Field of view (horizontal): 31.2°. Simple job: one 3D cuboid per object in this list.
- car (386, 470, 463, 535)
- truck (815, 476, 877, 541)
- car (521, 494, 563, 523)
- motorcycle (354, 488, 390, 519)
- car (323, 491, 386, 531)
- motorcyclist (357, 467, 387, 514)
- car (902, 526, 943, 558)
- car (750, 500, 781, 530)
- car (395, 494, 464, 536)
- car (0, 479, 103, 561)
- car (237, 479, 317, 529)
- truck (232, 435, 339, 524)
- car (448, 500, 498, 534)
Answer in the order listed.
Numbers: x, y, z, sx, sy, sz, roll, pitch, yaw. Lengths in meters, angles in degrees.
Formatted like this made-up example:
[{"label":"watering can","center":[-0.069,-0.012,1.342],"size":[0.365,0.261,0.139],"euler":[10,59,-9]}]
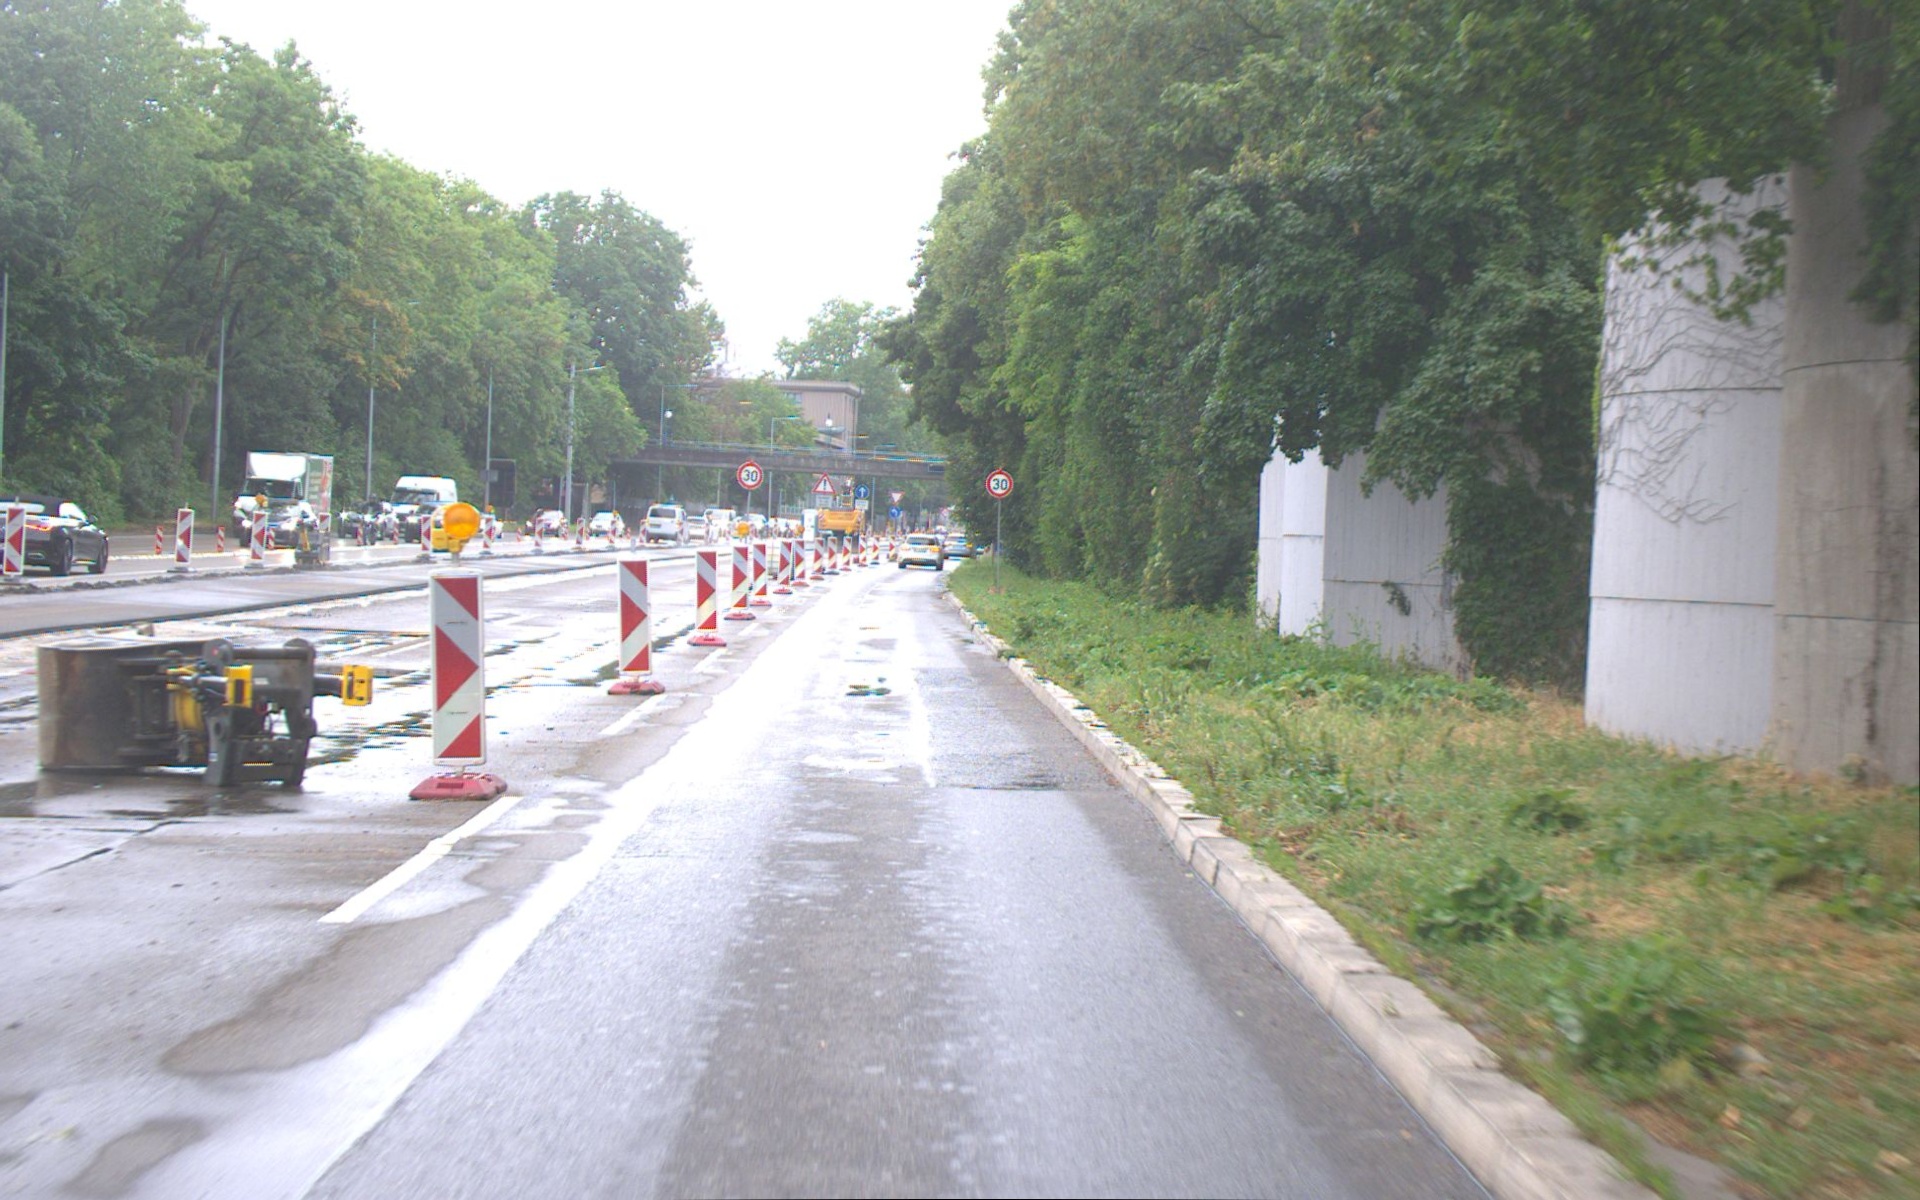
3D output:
[{"label":"car","center":[-22.436,-4.087,144.306],"size":[2.099,2.571,6.854],"euler":[2,2,0]},{"label":"truck","center":[-6.484,-5.286,197.635],"size":[3.259,3.485,13.872],"euler":[2,2,-1]},{"label":"car","center":[-22.187,-4.870,182.714],"size":[1.670,1.480,4.320],"euler":[2,2,0]},{"label":"motorcycle","center":[-20.116,-3.301,117.571],"size":[0.828,1.011,2.367],"euler":[3,1,-1]},{"label":"car","center":[-23.496,-3.470,133.518],"size":[1.670,1.480,4.320],"euler":[2,2,0]},{"label":"motorcyclist","center":[-20.095,-3.737,117.532],"size":[0.828,1.559,0.927],"euler":[3,1,-1]},{"label":"car","center":[-1.572,-2.429,143.394],"size":[1.697,1.331,3.491],"euler":[0,1,-1]},{"label":"car","center":[-12.399,-5.433,219.526],"size":[1.670,1.802,4.321],"euler":[2,3,0]},{"label":"car","center":[-20.505,-3.291,133.005],"size":[1.960,1.526,4.437],"euler":[2,2,0]},{"label":"car","center":[-16.668,-1.460,61.812],"size":[1.607,1.399,4.041],"euler":[2,2,-2]},{"label":"car","center":[-20.699,-2.915,104.349],"size":[1.670,1.411,4.321],"euler":[2,2,-2]},{"label":"truck","center":[-23.258,-4.133,118.757],"size":[2.246,2.930,6.935],"euler":[2,2,0]},{"label":"car","center":[-22.606,-3.864,159.826],"size":[1.670,1.480,4.320],"euler":[2,2,0]}]
